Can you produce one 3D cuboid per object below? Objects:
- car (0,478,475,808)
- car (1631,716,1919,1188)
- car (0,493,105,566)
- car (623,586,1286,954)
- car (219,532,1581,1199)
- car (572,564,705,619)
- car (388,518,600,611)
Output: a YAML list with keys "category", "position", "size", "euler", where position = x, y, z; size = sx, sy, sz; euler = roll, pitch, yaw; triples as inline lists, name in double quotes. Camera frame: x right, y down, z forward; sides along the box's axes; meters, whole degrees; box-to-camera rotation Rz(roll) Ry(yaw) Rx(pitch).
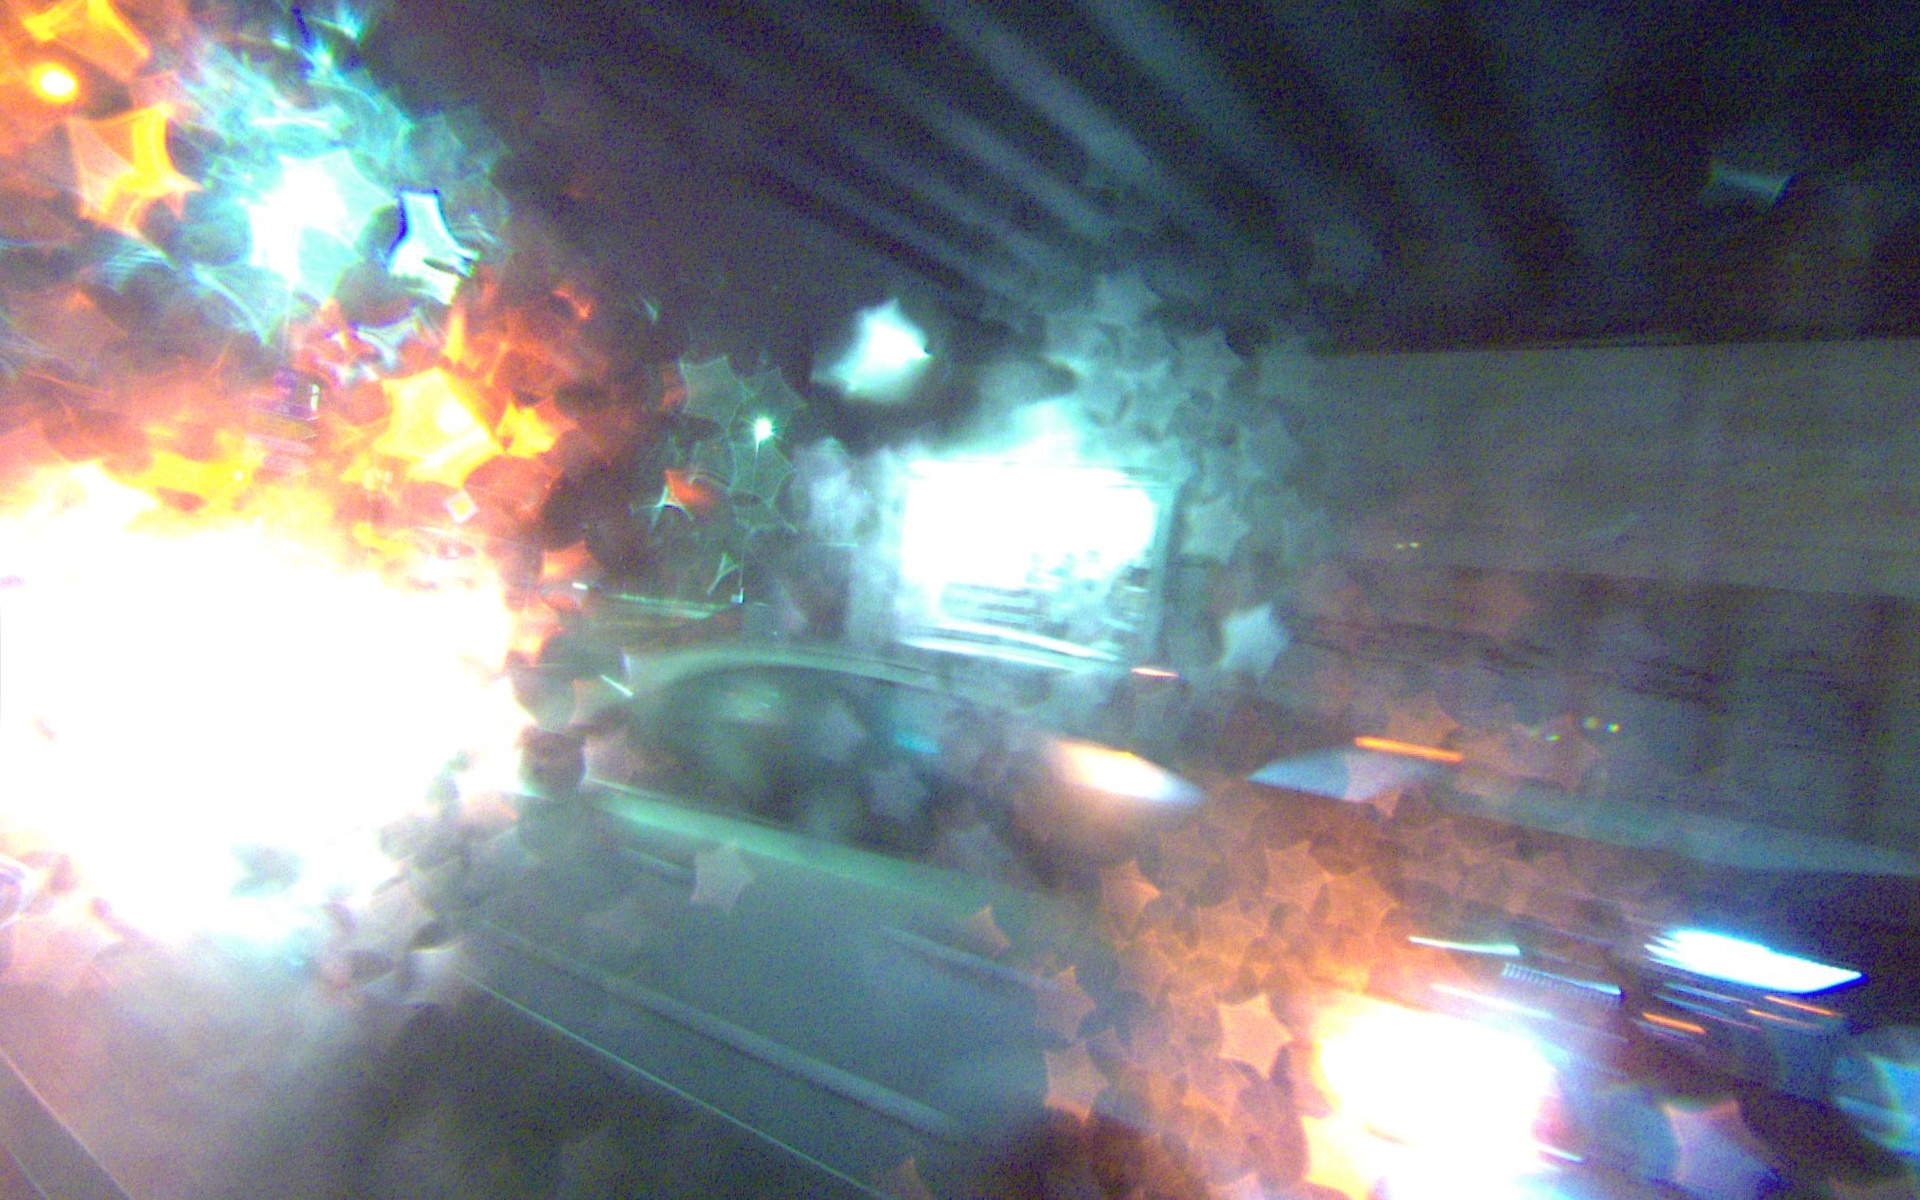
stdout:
- category: "car"
  position: [-5.224, 0.074, 6.497]
  size: [4.312, 1.465, 1.721]
  euler: [6, 0, 33]
- category: "car"
  position: [5.182, 1.520, 3.378]
  size: [4.709, 1.505, 1.721]
  euler: [6, 0, 33]
- category: "car"
  position: [-28.286, -2.215, 29.758]
  size: [4.272, 1.806, 2.024]
  euler: [8, -2, -37]
- category: "car"
  position: [-0.176, 0.873, 6.775]
  size: [4.095, 1.465, 1.721]
  euler: [6, 0, 33]
- category: "car"
  position: [-0.473, 0.747, 3.274]
  size: [4.095, 1.464, 1.722]
  euler: [6, -1, 33]
- category: "car"
  position: [-13.121, -0.321, 41.302]
  size: [1.827, 1.608, 4.846]
  euler: [6, -2, 41]
- category: "car"
  position: [-12.487, -0.896, 27.274]
  size: [1.808, 1.790, 4.827]
  euler: [6, -2, 35]
